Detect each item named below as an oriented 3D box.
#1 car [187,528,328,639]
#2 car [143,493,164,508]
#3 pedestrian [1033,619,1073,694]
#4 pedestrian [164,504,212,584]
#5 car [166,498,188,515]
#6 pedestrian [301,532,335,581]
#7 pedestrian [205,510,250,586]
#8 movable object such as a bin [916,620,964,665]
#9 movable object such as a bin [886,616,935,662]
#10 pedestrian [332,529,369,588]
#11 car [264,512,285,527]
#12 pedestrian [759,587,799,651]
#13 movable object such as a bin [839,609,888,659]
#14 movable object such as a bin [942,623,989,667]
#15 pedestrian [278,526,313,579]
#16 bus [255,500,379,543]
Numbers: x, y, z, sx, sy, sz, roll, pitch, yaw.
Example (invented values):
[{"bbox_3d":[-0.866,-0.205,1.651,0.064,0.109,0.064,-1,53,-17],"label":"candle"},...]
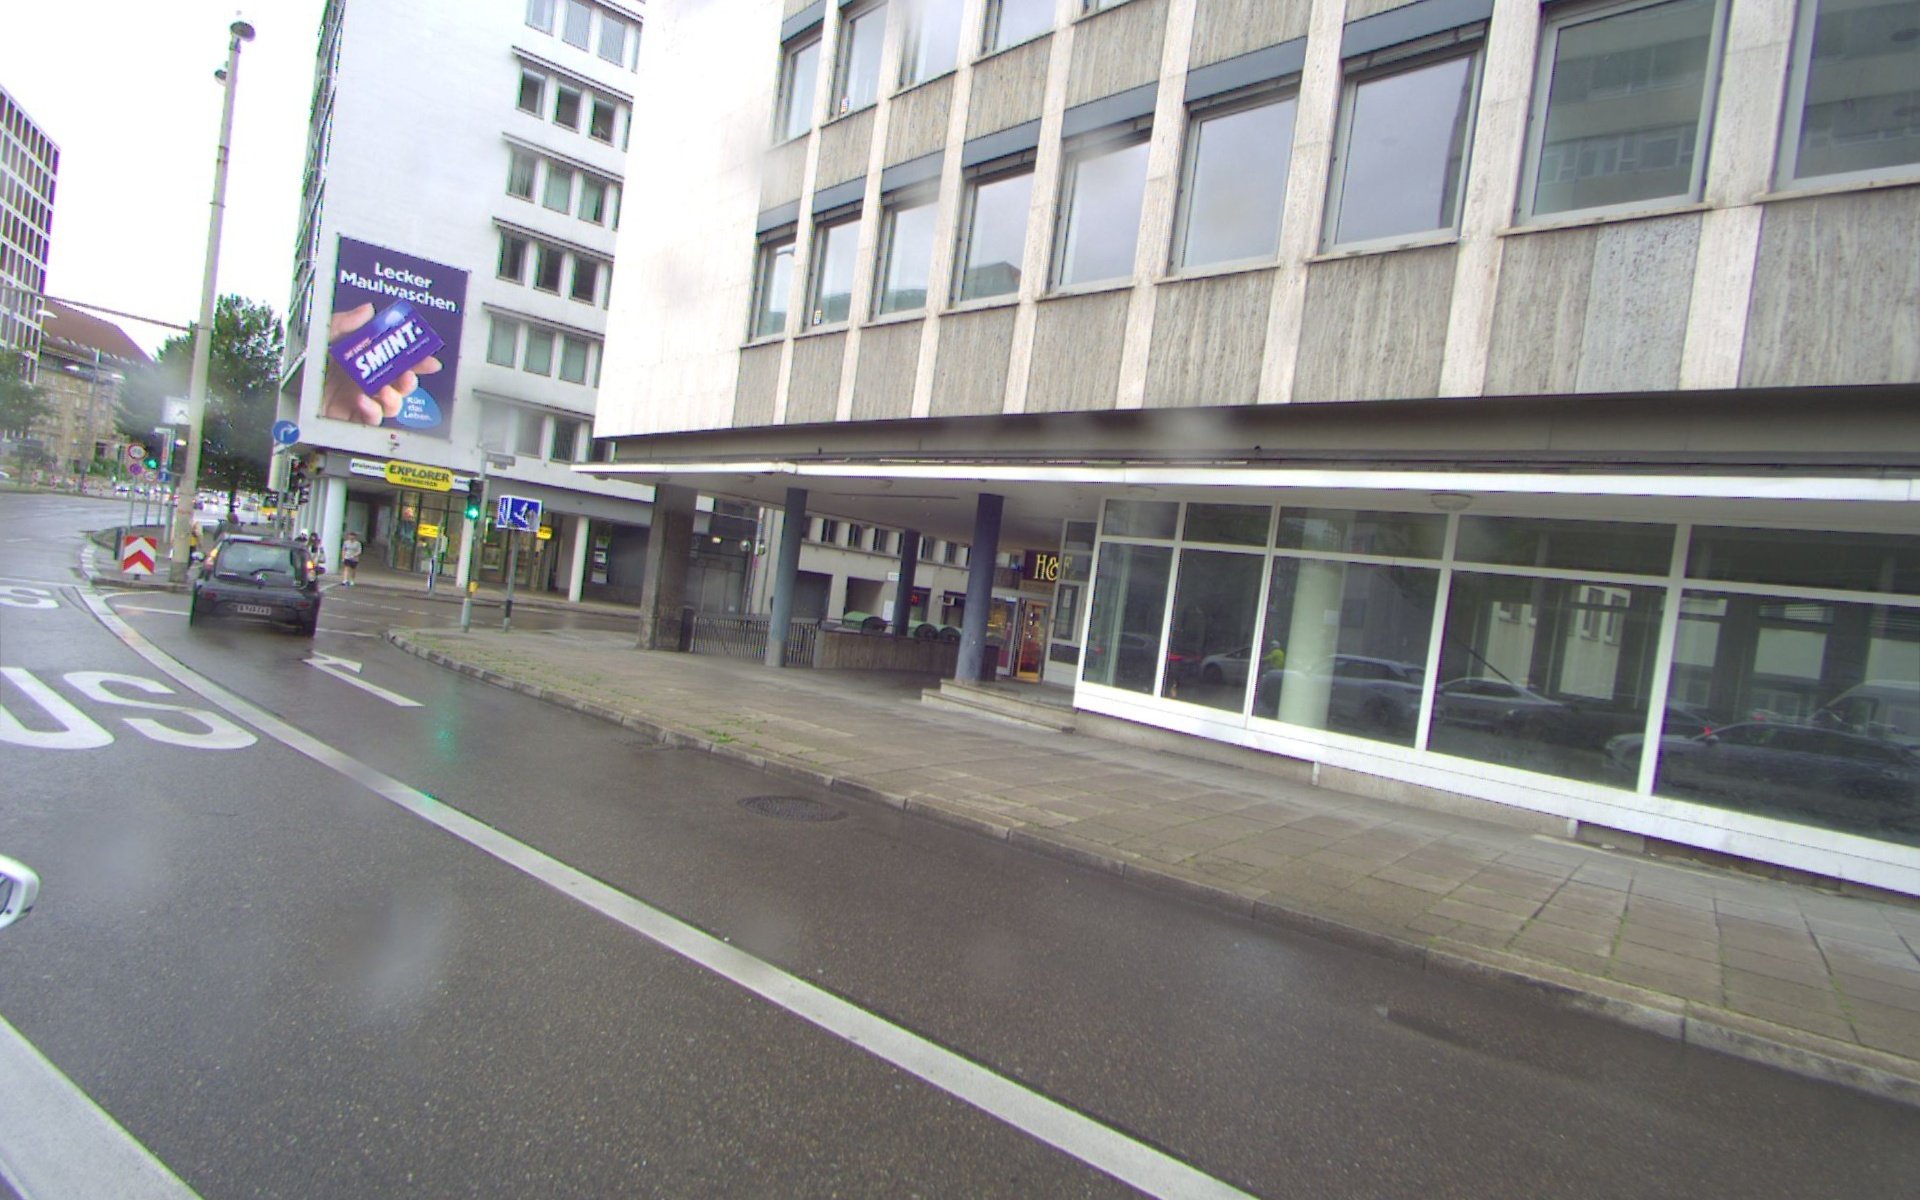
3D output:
[{"bbox_3d":[-11.531,-0.317,16.439,1.563,1.445,3.960,8,-2,-37],"label":"car"},{"bbox_3d":[-133.864,-16.540,166.946,1.980,2.037,3.968,8,-1,-31],"label":"car"},{"bbox_3d":[2.418,1.460,26.137,0.697,1.825,0.801,8,0,13],"label":"pedestrian"},{"bbox_3d":[-18.680,-1.363,24.350,0.745,1.820,0.808,7,1,-38],"label":"pedestrian"},{"bbox_3d":[-98.547,-11.760,126.679,1.877,1.662,3.962,8,-1,-35],"label":"car"},{"bbox_3d":[-21.804,-1.463,34.173,0.616,1.561,0.651,7,0,-15],"label":"pedestrian"},{"bbox_3d":[-18.611,-1.325,25.565,0.745,1.820,0.808,7,1,-38],"label":"pedestrian"},{"bbox_3d":[-0.711,1.506,35.926,1.094,1.399,1.186,7,1,-37],"label":"movable object such as a bin"},{"bbox_3d":[-1.742,1.369,35.122,1.094,1.399,1.186,7,1,-37],"label":"movable object such as a bin"},{"bbox_3d":[-19.960,-1.355,32.968,0.660,1.815,0.771,7,0,-15],"label":"pedestrian"},{"bbox_3d":[-91.705,-10.780,134.587,1.680,1.503,3.973,8,-2,-28],"label":"car"},{"bbox_3d":[-5.297,0.569,29.473,0.768,1.752,0.589,7,0,-44],"label":"pedestrian"},{"bbox_3d":[-3.228,1.129,33.494,0.961,1.447,1.268,7,1,-37],"label":"movable object such as a bin"},{"bbox_3d":[0.193,1.633,36.614,1.094,1.399,1.186,7,1,-37],"label":"movable object such as a bin"},{"bbox_3d":[-22.442,-1.606,33.987,0.660,1.675,0.651,7,0,-15],"label":"pedestrian"},{"bbox_3d":[-106.656,-12.943,167.392,16.849,4.109,4.403,9,-2,-31],"label":"bus"}]
